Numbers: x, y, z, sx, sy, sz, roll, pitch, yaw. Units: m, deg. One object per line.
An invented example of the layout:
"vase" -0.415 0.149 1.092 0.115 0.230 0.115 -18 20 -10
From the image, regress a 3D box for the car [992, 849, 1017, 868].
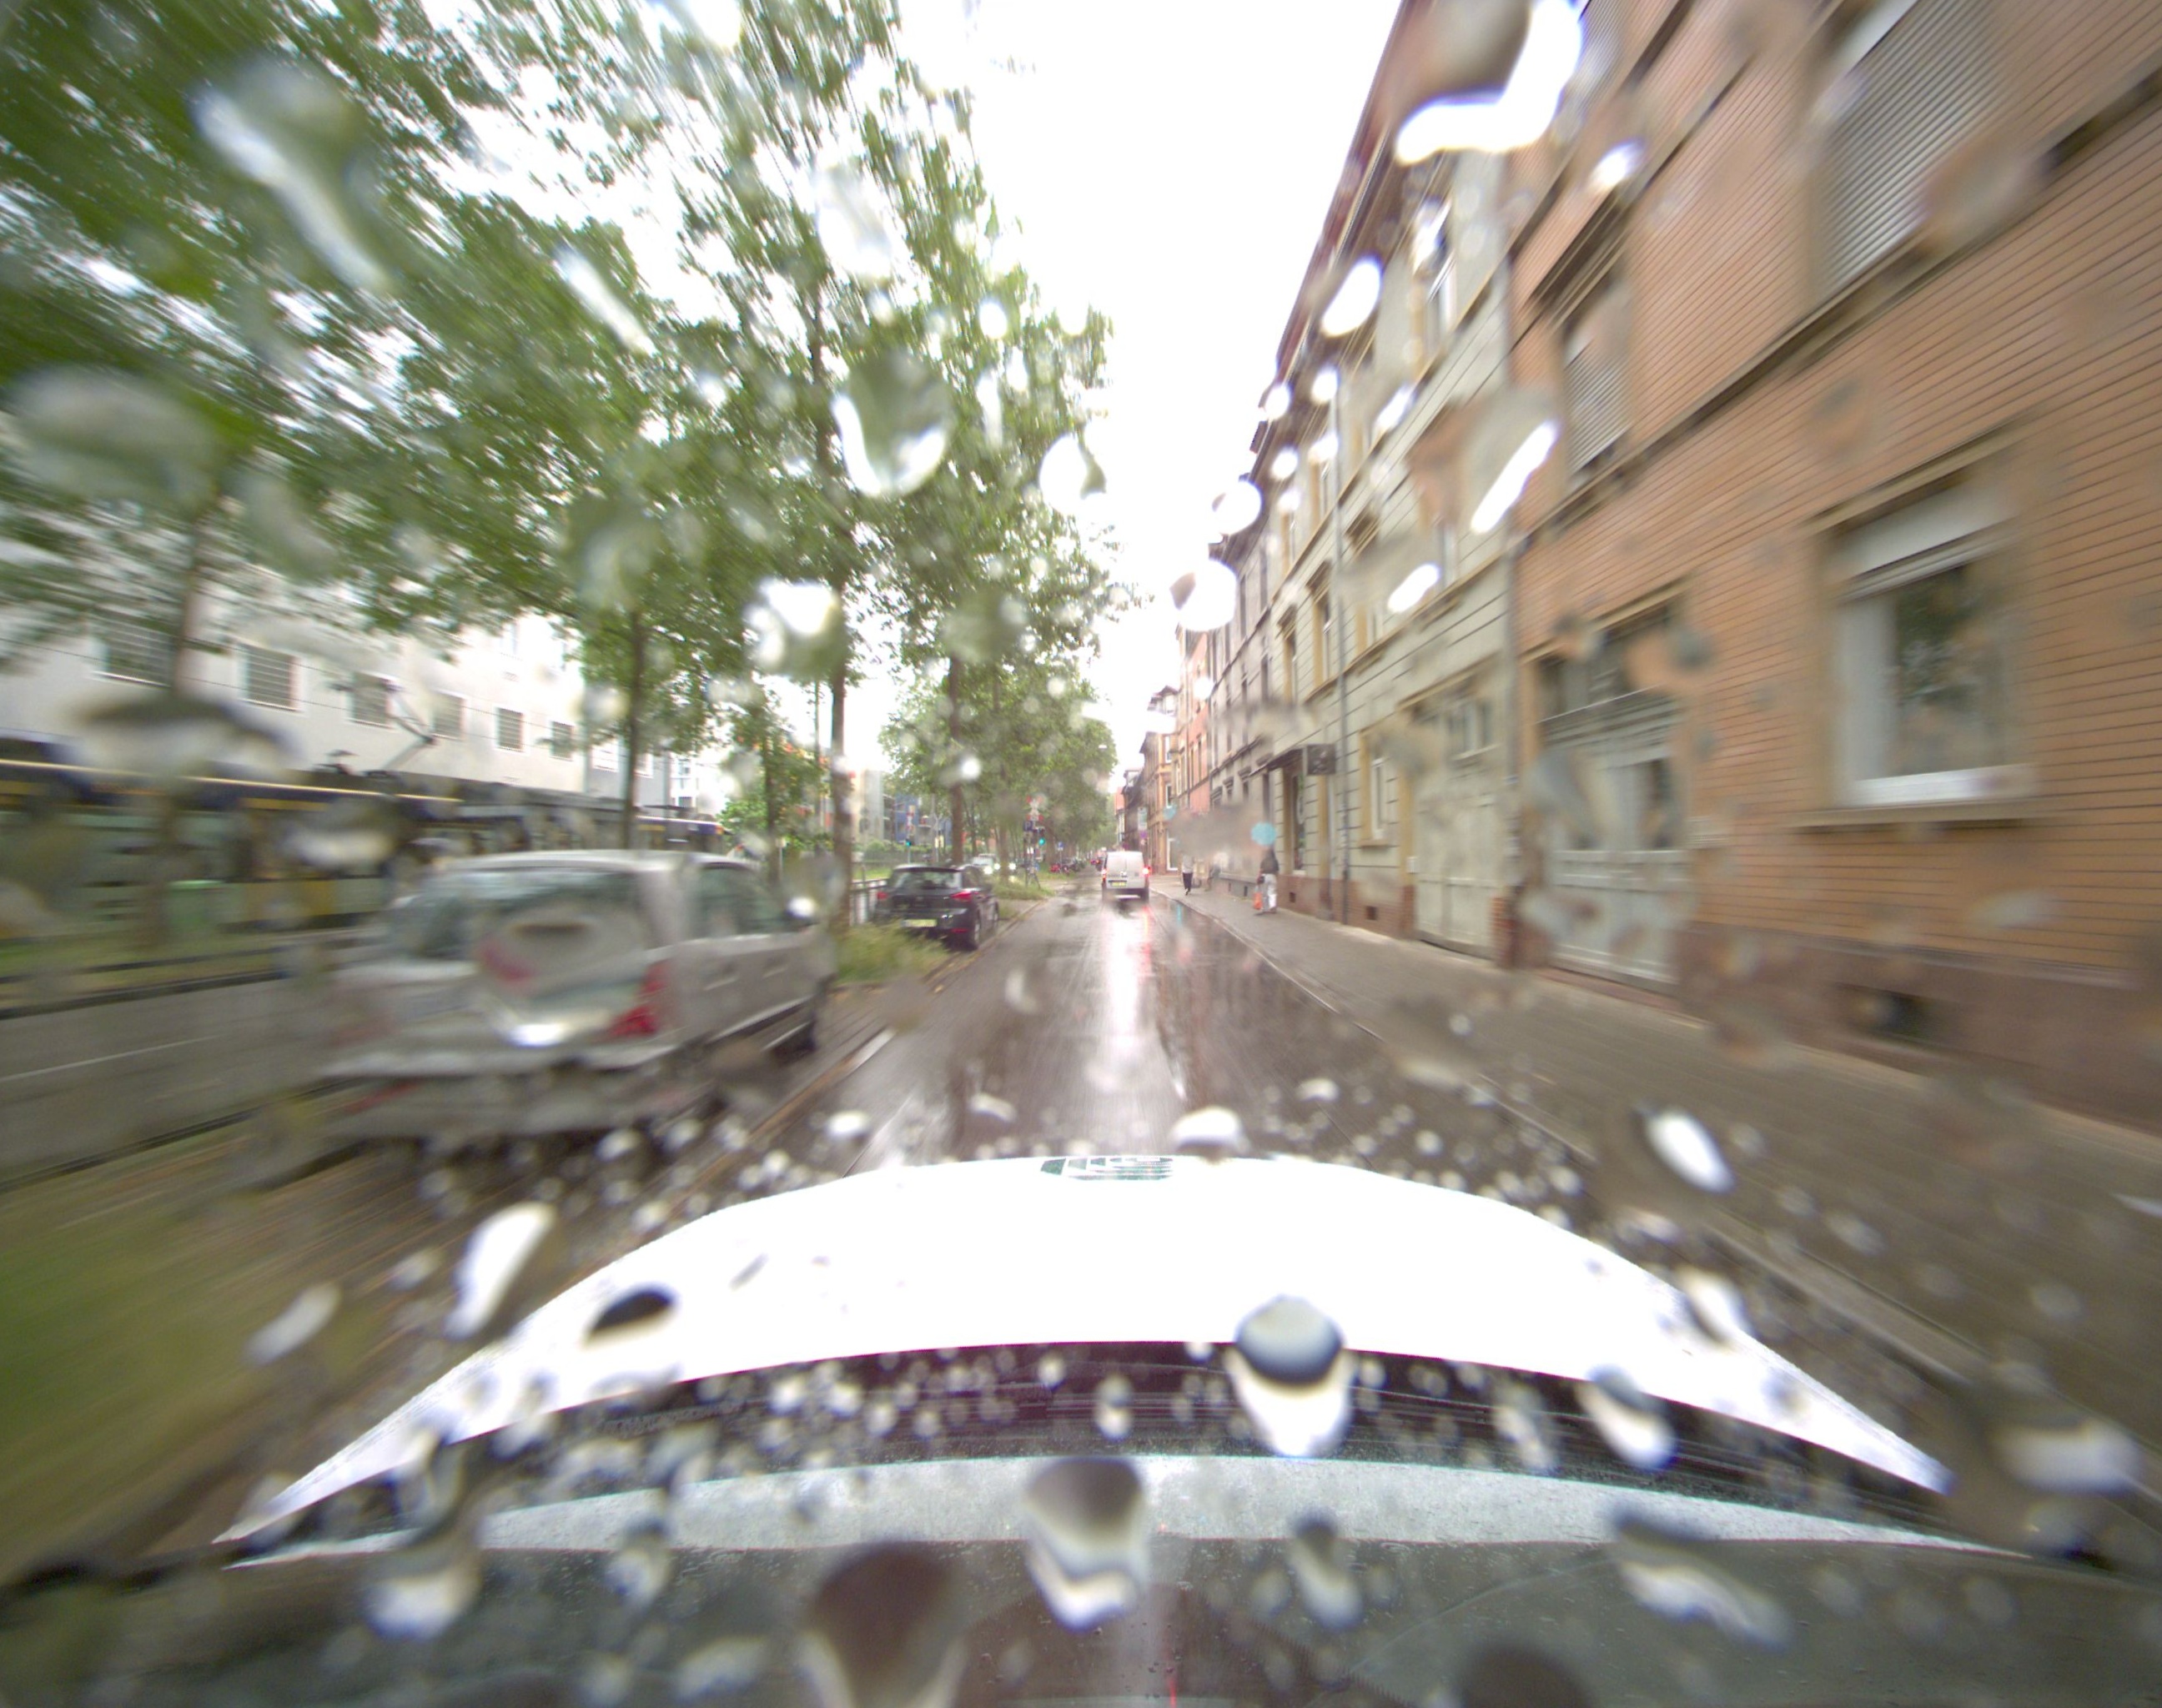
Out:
"car" -7.011 0.393 74.976 1.992 1.613 4.120 -1 0 -2

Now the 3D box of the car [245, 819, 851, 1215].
"car" -2.789 0.676 5.322 1.619 1.681 3.657 0 0 -2

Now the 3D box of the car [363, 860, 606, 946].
"car" -10.949 0.819 15.342 1.733 1.343 3.755 2 0 0

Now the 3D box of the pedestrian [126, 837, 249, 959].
"pedestrian" -12.945 0.613 11.831 0.815 1.704 0.872 -1 0 0

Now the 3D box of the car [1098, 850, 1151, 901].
"car" 1.635 0.820 31.383 1.896 1.797 4.114 -1 -2 2

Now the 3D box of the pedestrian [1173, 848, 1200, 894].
"pedestrian" 4.154 0.656 32.224 0.837 1.716 1.108 -4 0 1

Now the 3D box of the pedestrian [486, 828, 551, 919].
"pedestrian" -12.690 0.426 18.385 0.865 2.013 0.821 -1 0 4

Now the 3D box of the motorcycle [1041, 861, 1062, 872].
"motorcycle" -2.414 1.054 66.607 1.697 0.865 0.578 -1 0 5

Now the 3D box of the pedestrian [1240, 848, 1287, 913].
"pedestrian" 4.479 0.639 20.054 0.837 1.511 1.108 -4 0 1

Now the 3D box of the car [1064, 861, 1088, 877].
"car" -0.454 1.359 75.208 1.986 1.387 4.002 -1 0 2

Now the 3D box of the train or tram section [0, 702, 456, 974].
"train or tram section" -15.676 -0.167 10.964 3.095 3.559 14.577 -1 -2 1

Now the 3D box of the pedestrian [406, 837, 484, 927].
"pedestrian" -12.438 0.530 15.951 0.815 1.703 0.872 0 0 0

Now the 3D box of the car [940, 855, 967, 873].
"car" -10.649 0.828 68.140 1.991 1.415 3.992 -1 0 -6

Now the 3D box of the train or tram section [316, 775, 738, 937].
"train or tram section" -15.476 0.240 25.570 3.095 3.559 14.673 -1 -2 0

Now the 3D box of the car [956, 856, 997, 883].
"car" -6.555 0.968 51.450 1.991 1.613 4.000 0 0 0

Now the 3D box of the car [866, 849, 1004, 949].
"car" -2.443 0.708 14.608 1.643 1.500 4.119 1 0 1
